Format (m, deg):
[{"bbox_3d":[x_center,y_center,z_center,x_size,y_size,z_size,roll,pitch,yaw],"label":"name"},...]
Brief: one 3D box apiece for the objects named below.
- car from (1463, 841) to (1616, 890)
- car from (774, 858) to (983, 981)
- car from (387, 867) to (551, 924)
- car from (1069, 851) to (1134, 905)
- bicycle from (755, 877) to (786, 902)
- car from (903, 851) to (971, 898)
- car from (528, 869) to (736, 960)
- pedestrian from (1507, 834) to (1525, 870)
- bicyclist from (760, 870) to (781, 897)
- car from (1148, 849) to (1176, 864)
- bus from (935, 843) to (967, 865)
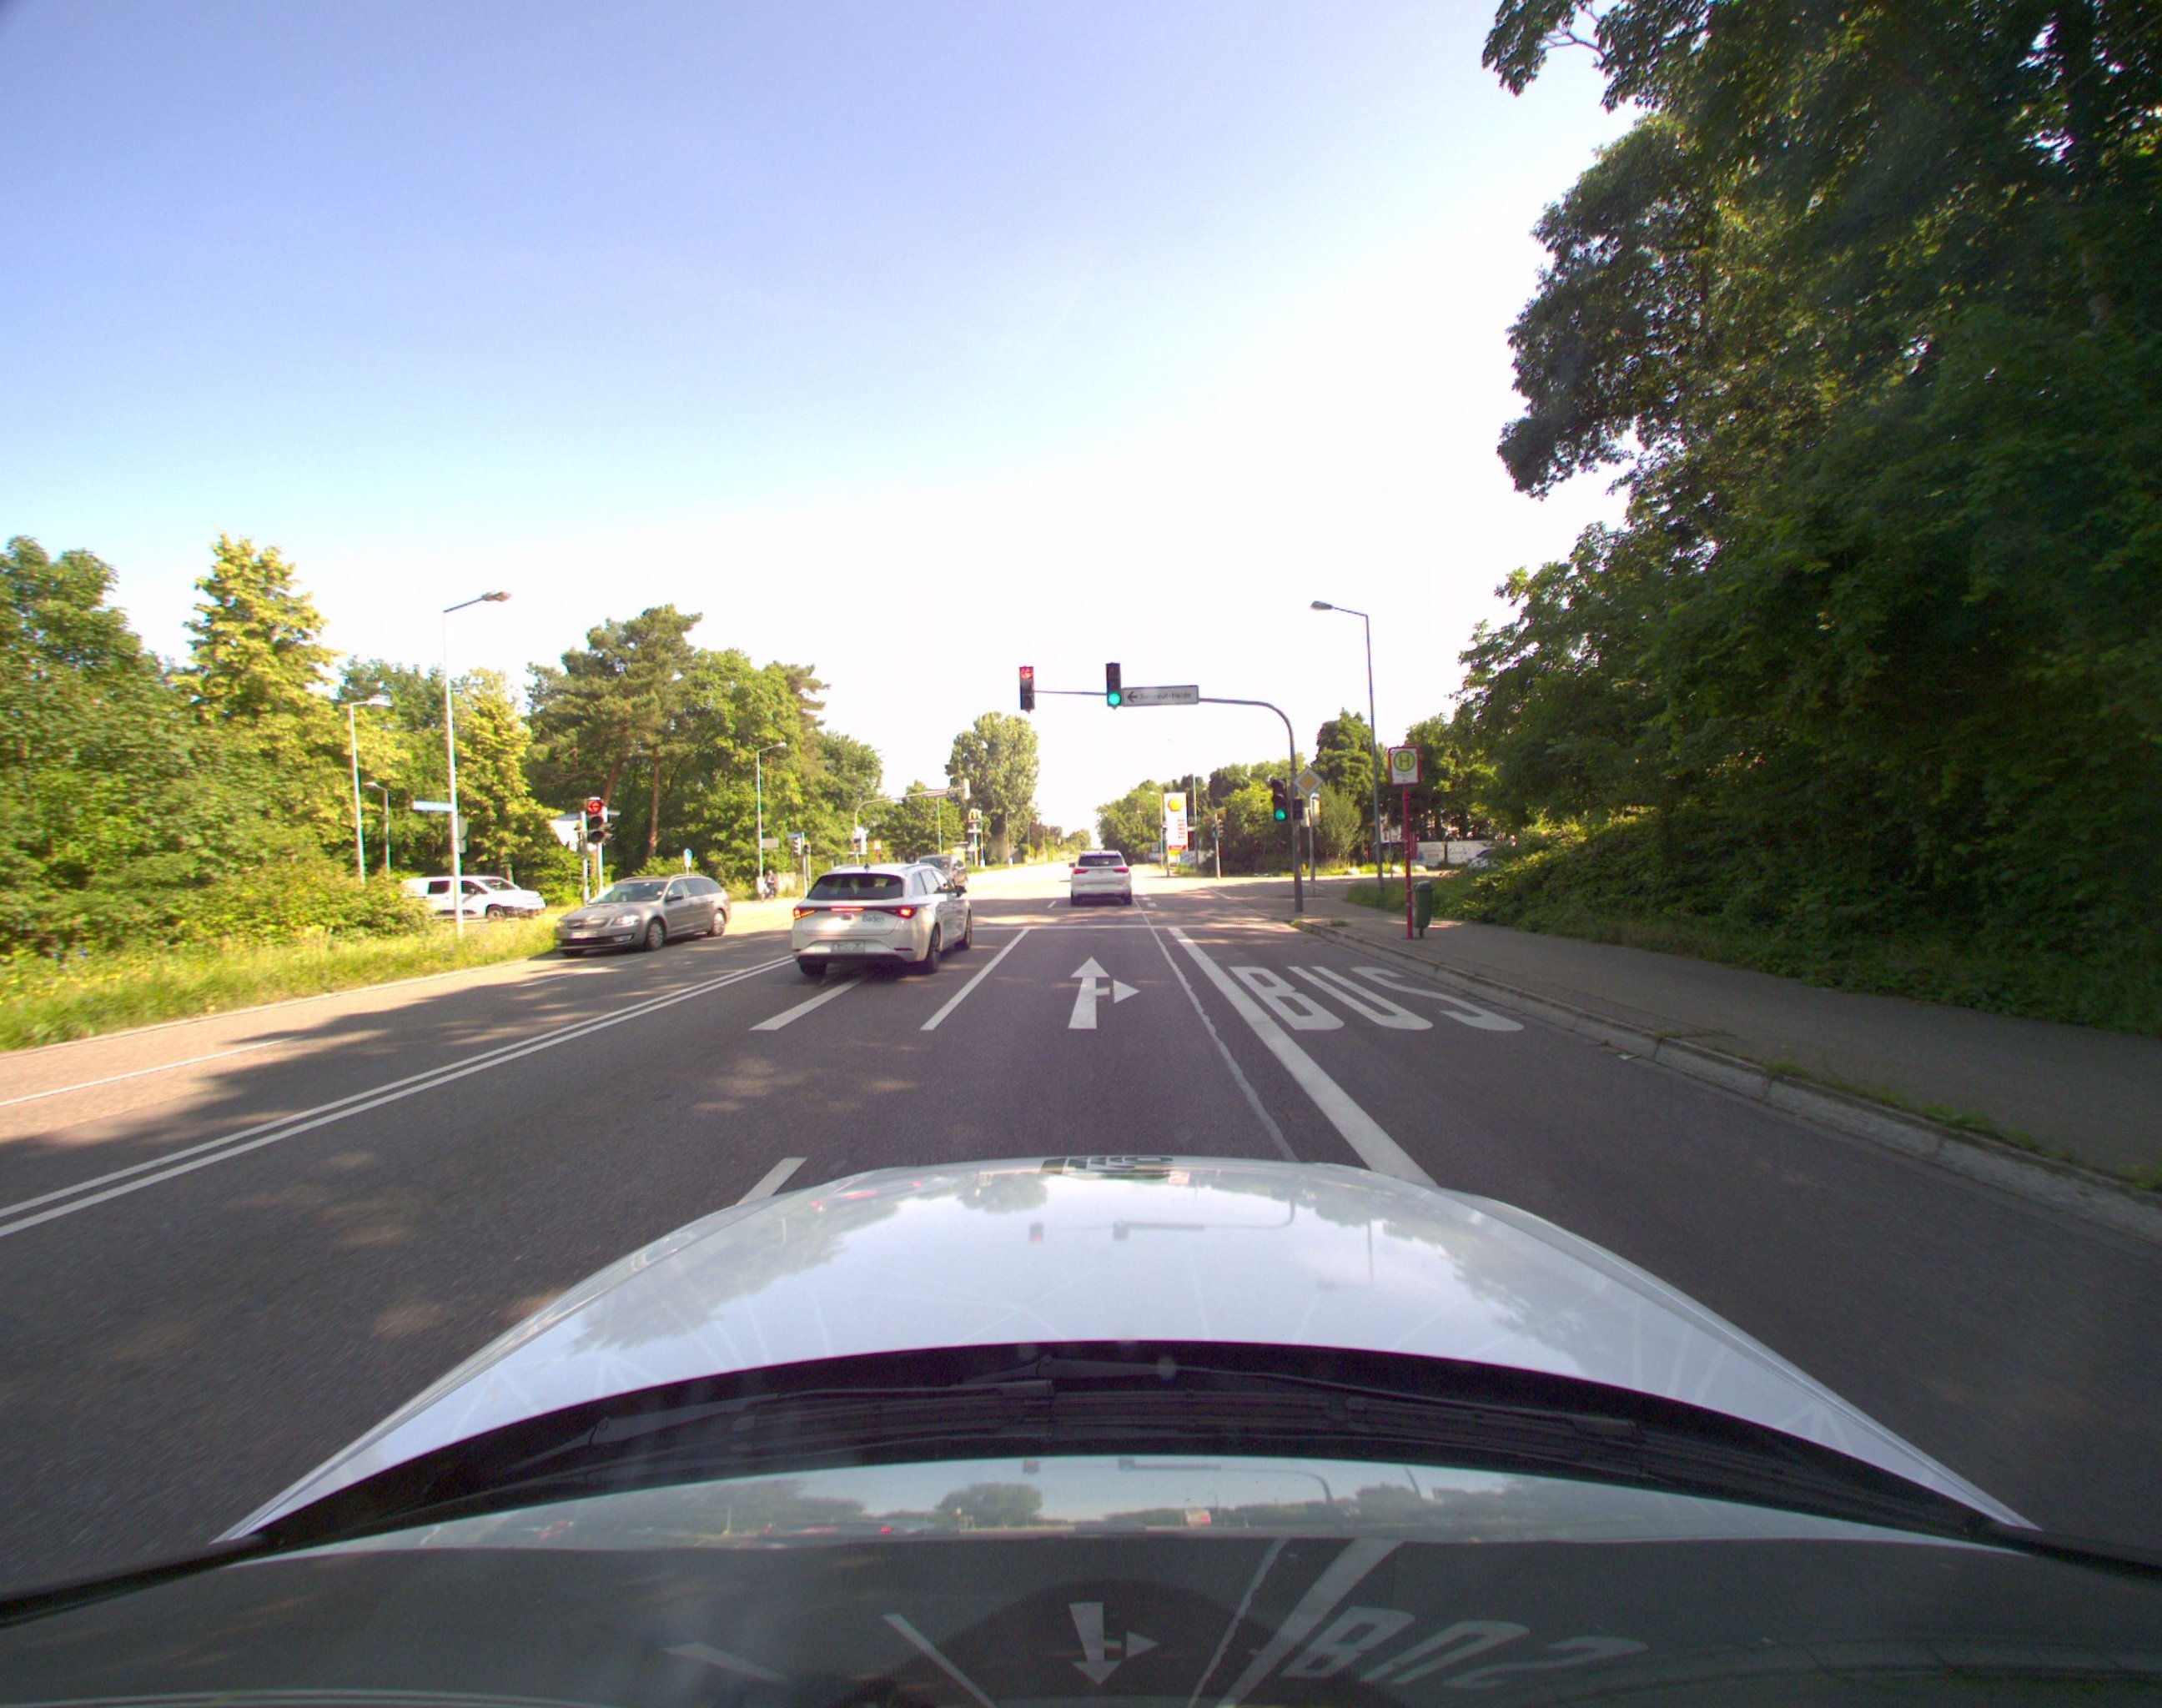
[{"bbox_3d":[15.413,0.373,27.691,1.628,1.464,4.586,-2,0,-18],"label":"car"},{"bbox_3d":[-2.655,0.779,11.811,1.777,1.424,4.424,0,0,2],"label":"car"},{"bbox_3d":[-22.689,1.518,30.298,4.629,1.778,1.853,-3,-1,1],"label":"car"},{"bbox_3d":[0.657,0.695,25.558,1.840,1.541,4.226,0,-1,2],"label":"car"},{"bbox_3d":[-15.720,1.774,41.255,0.731,1.163,2.370,-2,0,-3],"label":"bicycle"},{"bbox_3d":[-5.773,0.785,33.198,1.784,1.697,4.393,-3,-1,2],"label":"car"},{"bbox_3d":[-8.967,1.123,16.788,1.697,1.433,4.461,-3,0,1],"label":"car"},{"bbox_3d":[20.474,-0.091,38.344,0.603,1.629,0.416,-3,0,16],"label":"pedestrian"},{"bbox_3d":[-15.734,1.464,41.227,0.720,1.311,0.882,-2,0,-4],"label":"bicyclist"},{"bbox_3d":[9.121,0.293,91.975,1.587,1.530,2.697,1,-2,-44],"label":"car"},{"bbox_3d":[-16.267,0.053,102.541,2.571,2.679,8.994,0,0,0],"label":"bus"}]
